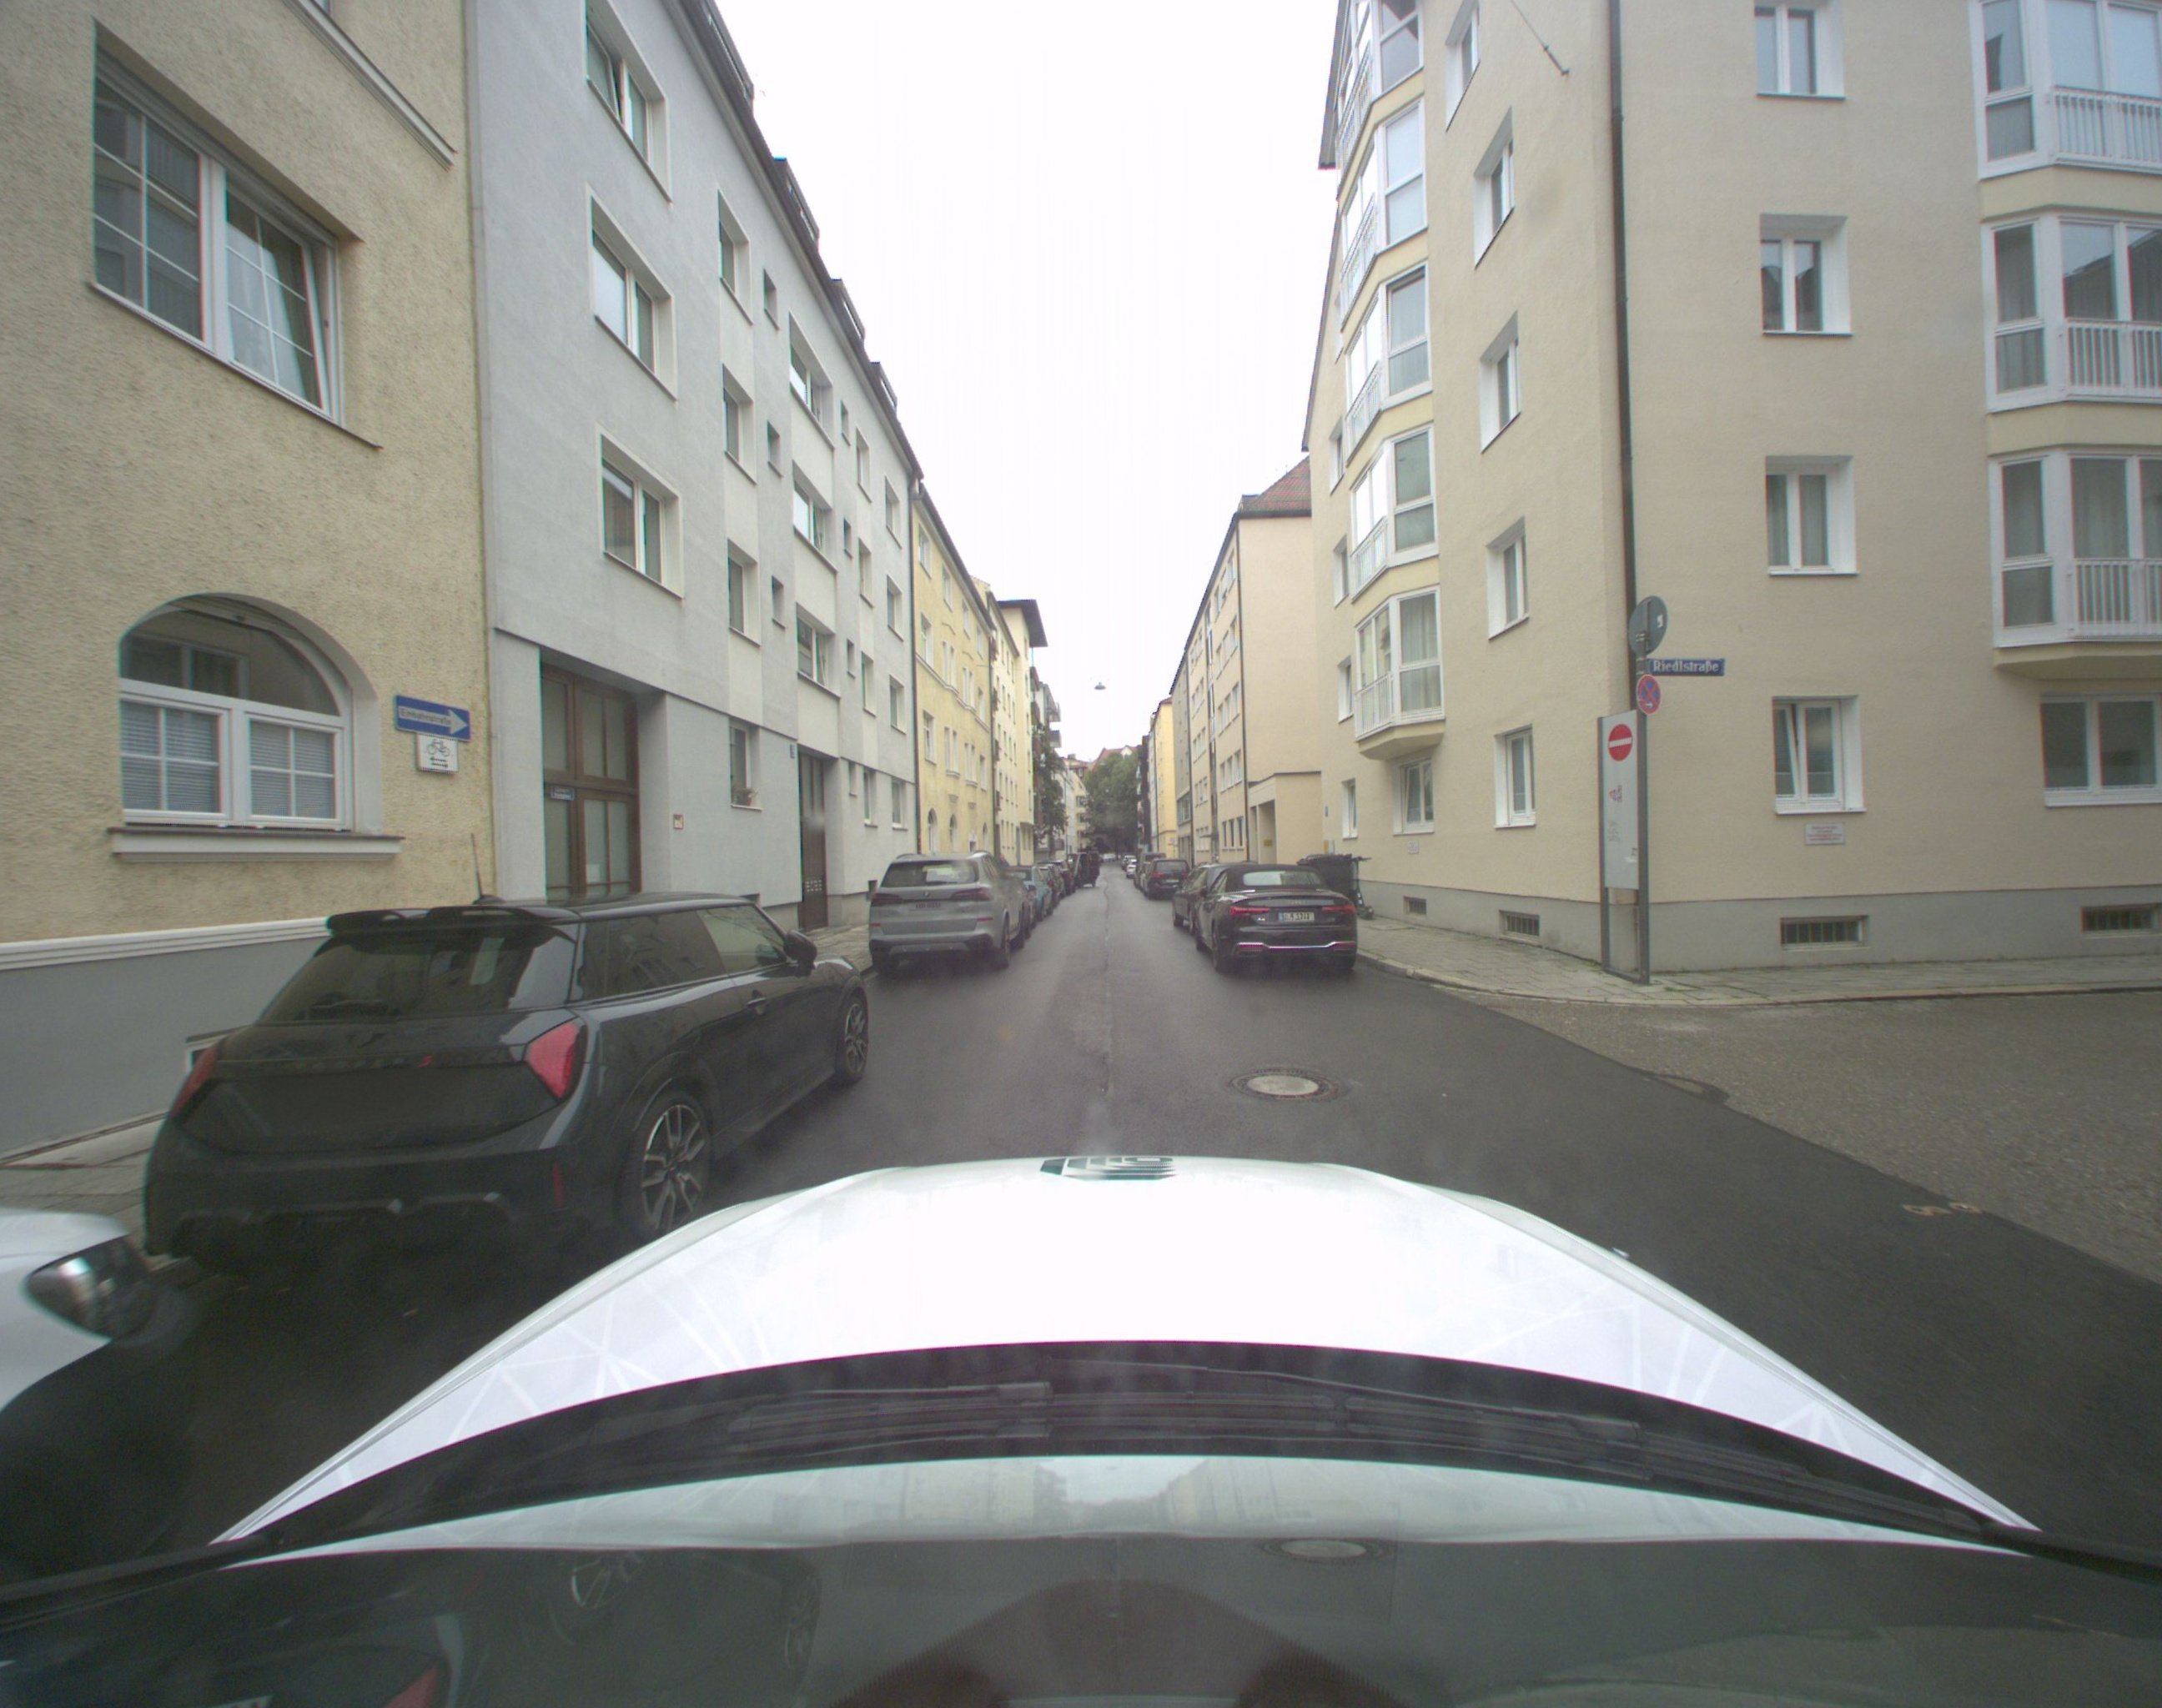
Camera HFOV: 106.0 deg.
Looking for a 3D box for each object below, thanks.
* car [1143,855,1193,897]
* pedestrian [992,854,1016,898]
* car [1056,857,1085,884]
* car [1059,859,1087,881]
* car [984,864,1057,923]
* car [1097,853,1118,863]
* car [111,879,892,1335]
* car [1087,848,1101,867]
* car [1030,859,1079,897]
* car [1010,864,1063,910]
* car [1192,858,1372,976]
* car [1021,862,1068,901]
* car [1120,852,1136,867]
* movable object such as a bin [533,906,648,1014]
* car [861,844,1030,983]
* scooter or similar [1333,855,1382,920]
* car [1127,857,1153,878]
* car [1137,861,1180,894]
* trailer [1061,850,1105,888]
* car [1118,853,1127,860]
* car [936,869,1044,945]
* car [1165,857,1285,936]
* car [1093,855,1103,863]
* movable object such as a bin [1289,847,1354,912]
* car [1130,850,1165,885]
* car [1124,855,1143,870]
[{"bbox_3d":[3.531,0.890,33.632,1.705,1.608,4.245,-1,-1,1],"label":"car"},{"bbox_3d":[-3.134,0.888,33.129,0.836,1.764,1.068,-1,-1,1],"label":"pedestrian"},{"bbox_3d":[-0.670,1.115,56.551,1.759,1.675,4.368,-3,-1,1],"label":"car"},{"bbox_3d":[-0.589,1.175,62.115,1.758,1.483,4.428,-3,0,3],"label":"car"},{"bbox_3d":[-1.648,1.068,23.224,1.556,1.460,3.407,-3,-1,4],"label":"car"},{"bbox_3d":[5.009,0.664,154.080,3.872,1.584,1.648,-5,0,0],"label":"car"},{"bbox_3d":[-2.424,0.916,4.646,1.646,1.411,3.735,-4,-1,1],"label":"car"},{"bbox_3d":[2.024,0.500,125.535,1.929,2.801,4.534,-5,0,2],"label":"car"},{"bbox_3d":[-1.201,1.096,38.912,1.871,1.660,4.419,-3,-1,3],"label":"car"},{"bbox_3d":[-1.520,1.113,28.967,1.557,1.460,3.764,-3,-1,1],"label":"car"},{"bbox_3d":[2.723,0.789,12.067,1.825,1.406,4.415,-1,-1,3],"label":"car"},{"bbox_3d":[-1.474,1.111,34.087,1.556,1.460,3.478,-3,-1,3],"label":"car"},{"bbox_3d":[5.392,0.612,93.743,1.676,1.567,4.415,1,0,0],"label":"car"},{"bbox_3d":[-5.256,1.119,8.766,0.804,1.051,0.623,2,-1,1],"label":"movable object such as a bin"},{"bbox_3d":[-1.991,0.836,13.460,1.856,1.770,4.735,-4,-1,0],"label":"car"},{"bbox_3d":[5.706,0.684,16.874,0.574,1.266,1.137,-4,-1,1],"label":"scooter or similar"},{"bbox_3d":[4.580,1.013,63.718,1.812,1.408,3.954,-1,2,1],"label":"car"},{"bbox_3d":[3.695,1.086,39.464,1.706,1.486,4.243,-1,-1,0],"label":"car"},{"bbox_3d":[0.147,0.843,47.362,1.343,2.116,3.336,-3,-1,23],"label":"trailer"},{"bbox_3d":[8.736,0.563,171.184,1.636,1.383,3.747,-5,0,2],"label":"car"},{"bbox_3d":[-1.921,1.102,18.434,1.805,1.386,4.251,-4,-1,1],"label":"car"},{"bbox_3d":[2.953,0.826,17.624,1.712,1.471,4.529,-1,-1,-1],"label":"car"},{"bbox_3d":[3.061,0.872,144.103,1.636,1.383,3.484,-5,0,2],"label":"car"},{"bbox_3d":[5.680,0.595,19.327,1.028,1.423,1.587,-4,-1,2],"label":"movable object such as a bin"},{"bbox_3d":[3.936,0.776,49.030,1.745,1.975,4.342,1,0,0],"label":"car"},{"bbox_3d":[5.389,0.836,83.946,1.744,1.469,4.345,1,0,2],"label":"car"}]
